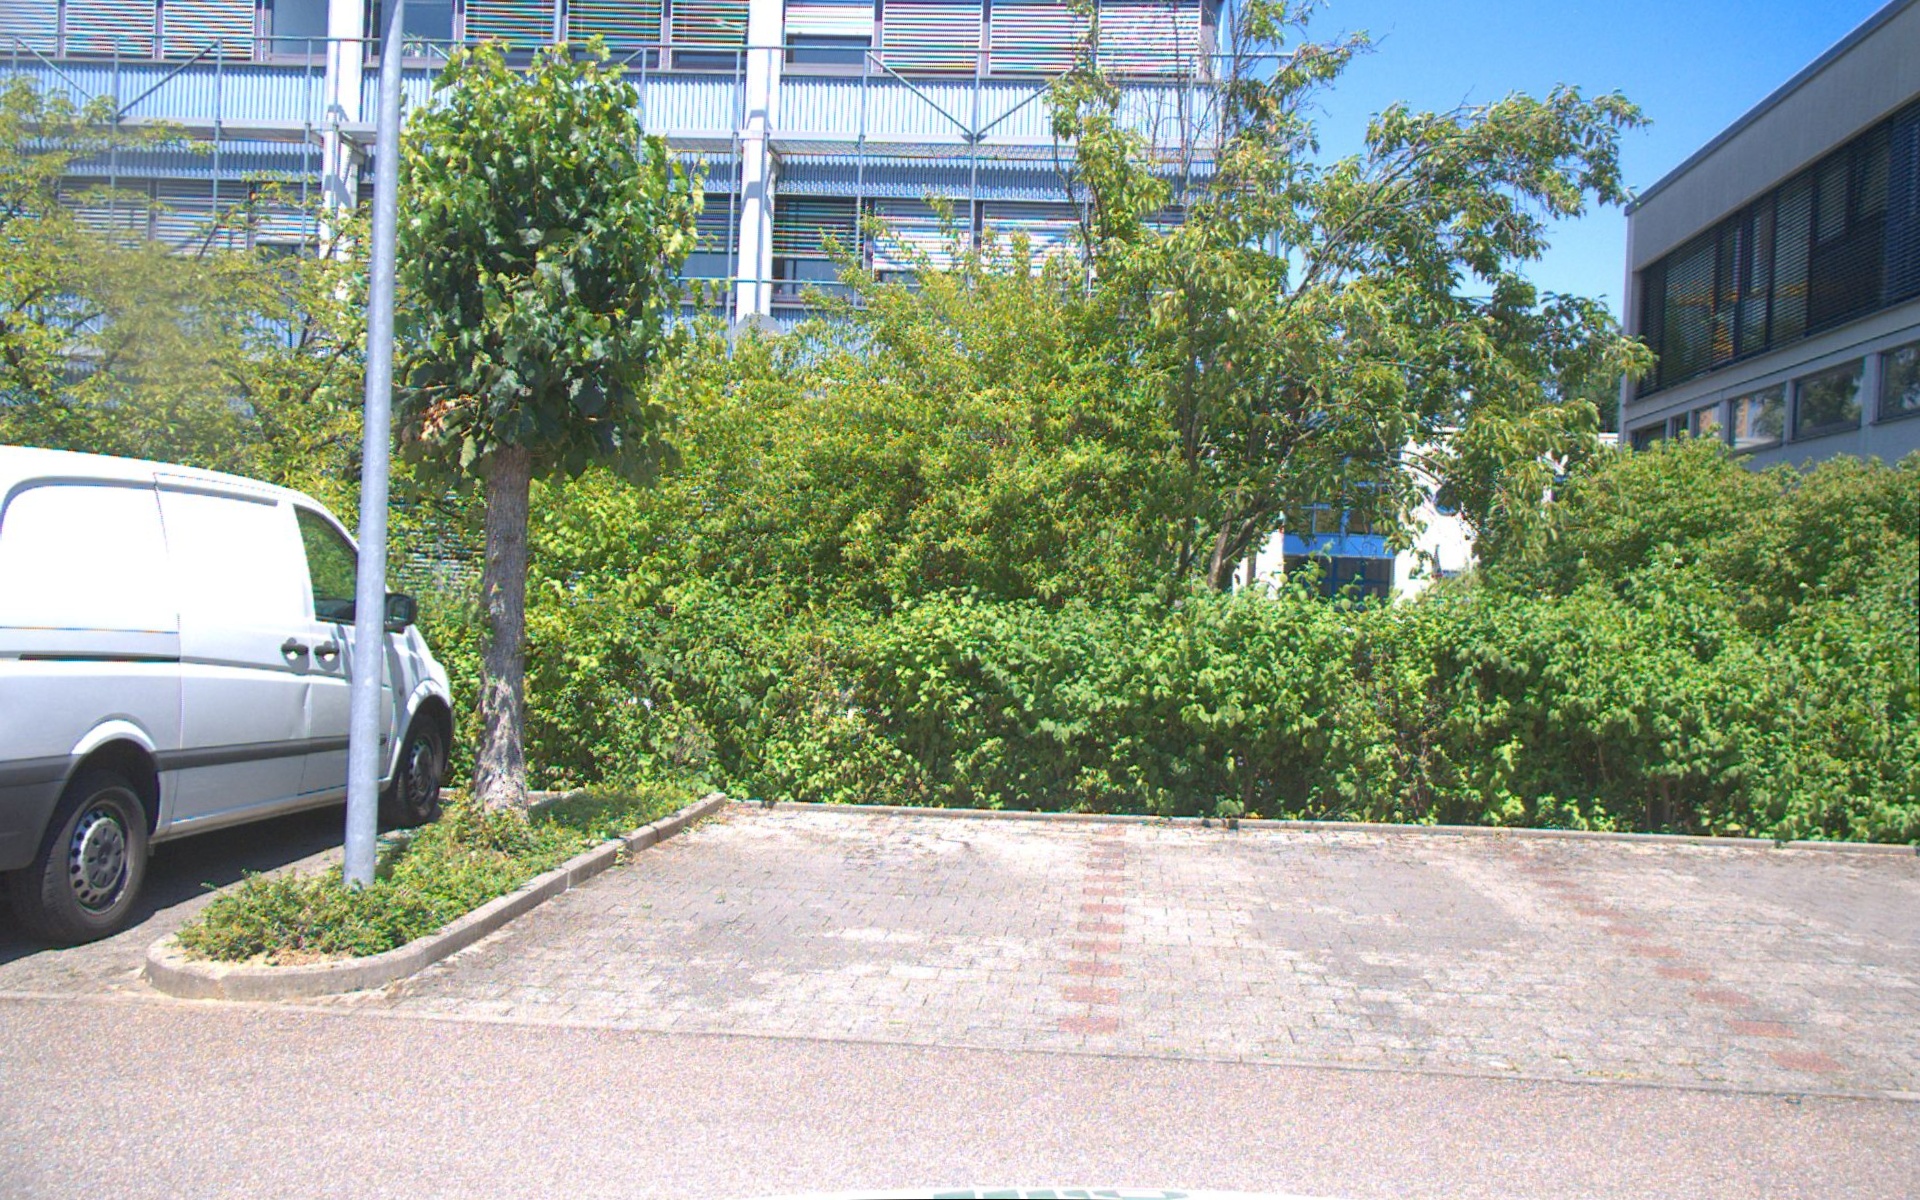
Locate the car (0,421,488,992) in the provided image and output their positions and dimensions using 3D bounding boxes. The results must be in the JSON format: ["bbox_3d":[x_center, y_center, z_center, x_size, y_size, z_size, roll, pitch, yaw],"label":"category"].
[{"bbox_3d":[-4.029,0.316,7.843,1.873,1.938,4.811,1,1,4],"label":"car"}]
